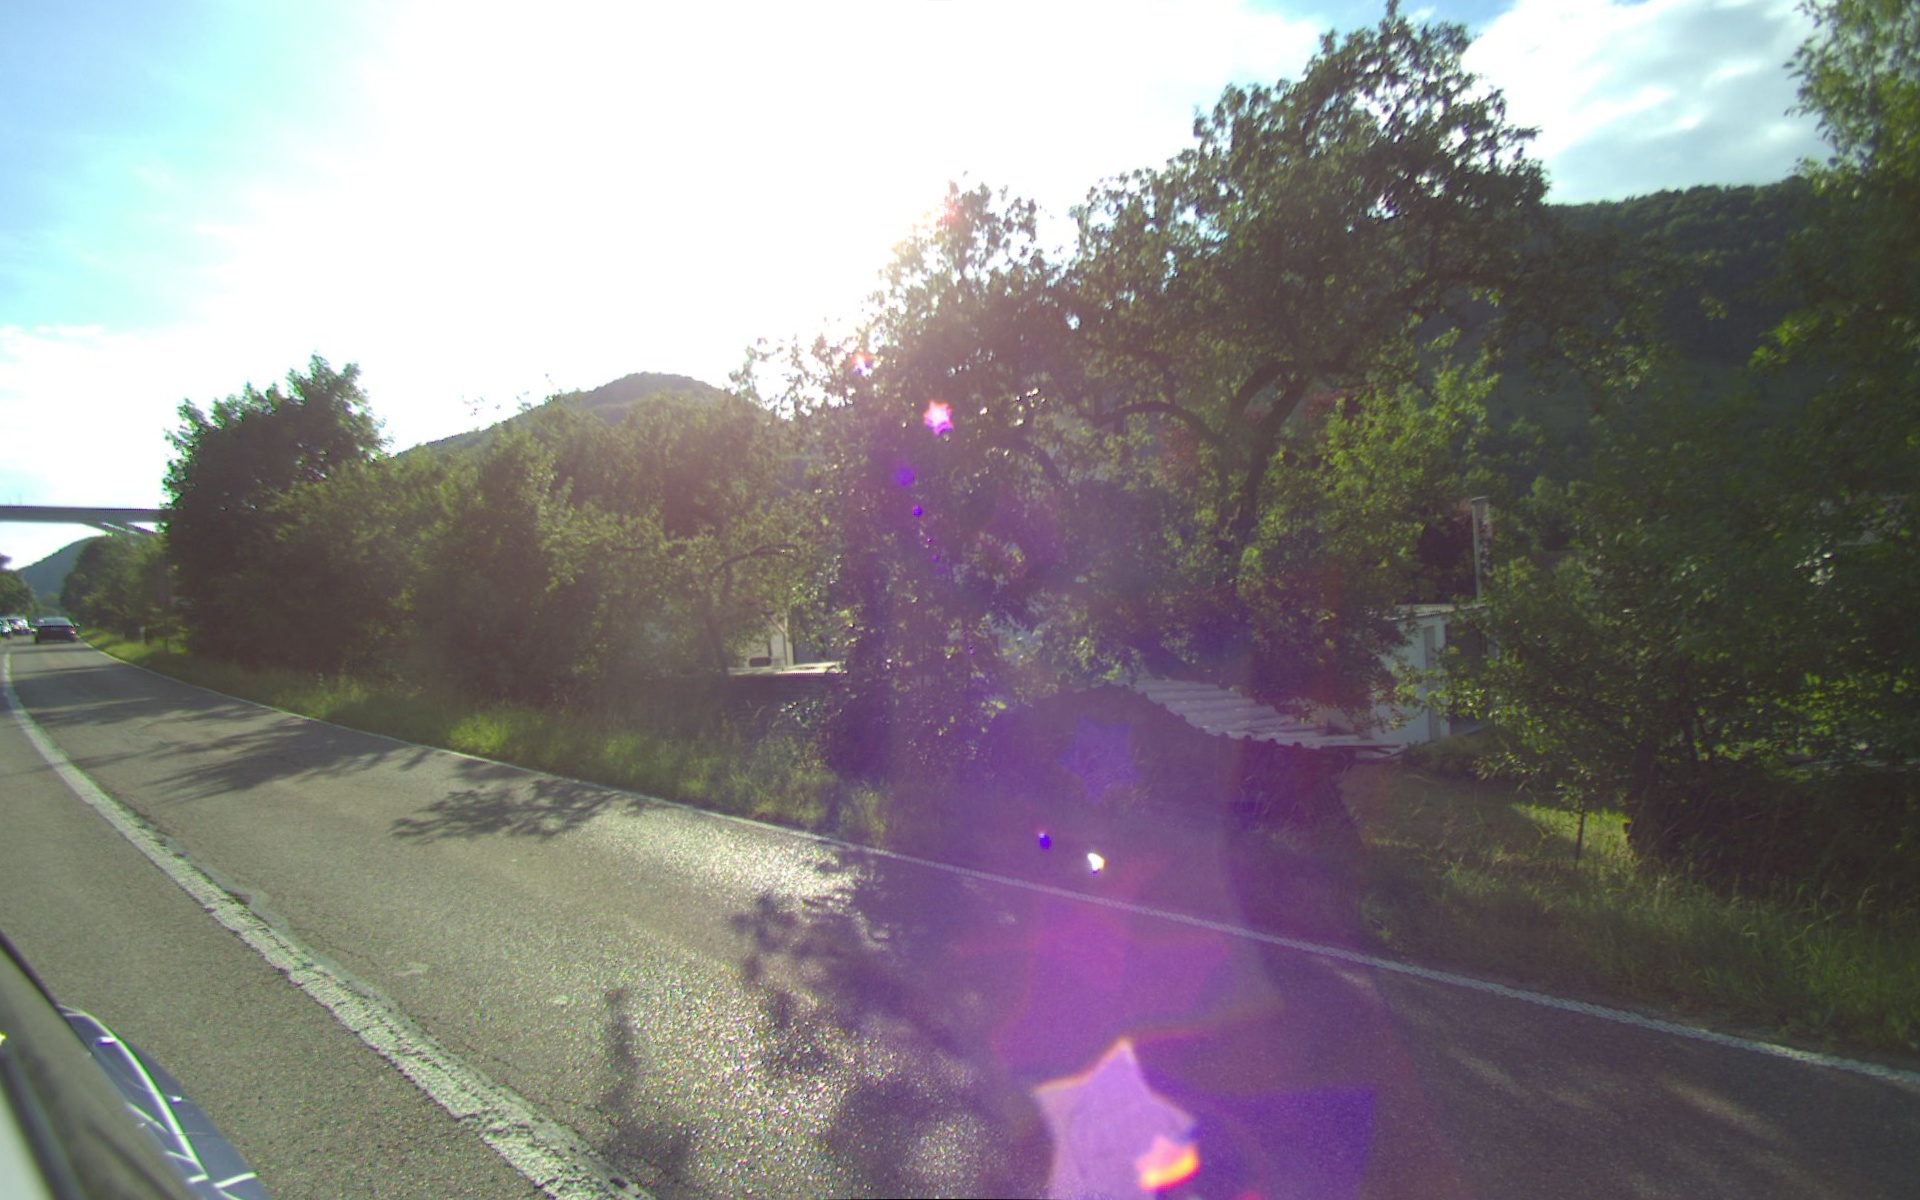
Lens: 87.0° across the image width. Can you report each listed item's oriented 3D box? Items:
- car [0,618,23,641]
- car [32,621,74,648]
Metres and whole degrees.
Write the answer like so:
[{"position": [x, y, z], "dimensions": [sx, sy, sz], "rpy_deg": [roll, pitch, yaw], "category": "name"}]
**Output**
[{"position": [-86.148, 2.676, 91.548], "dimensions": [1.970, 2.029, 4.003], "rpy_deg": [-1, 0, -44], "category": "car"}, {"position": [-49.398, 1.843, 55.071], "dimensions": [1.575, 1.364, 4.207], "rpy_deg": [-1, 0, -44], "category": "car"}]
